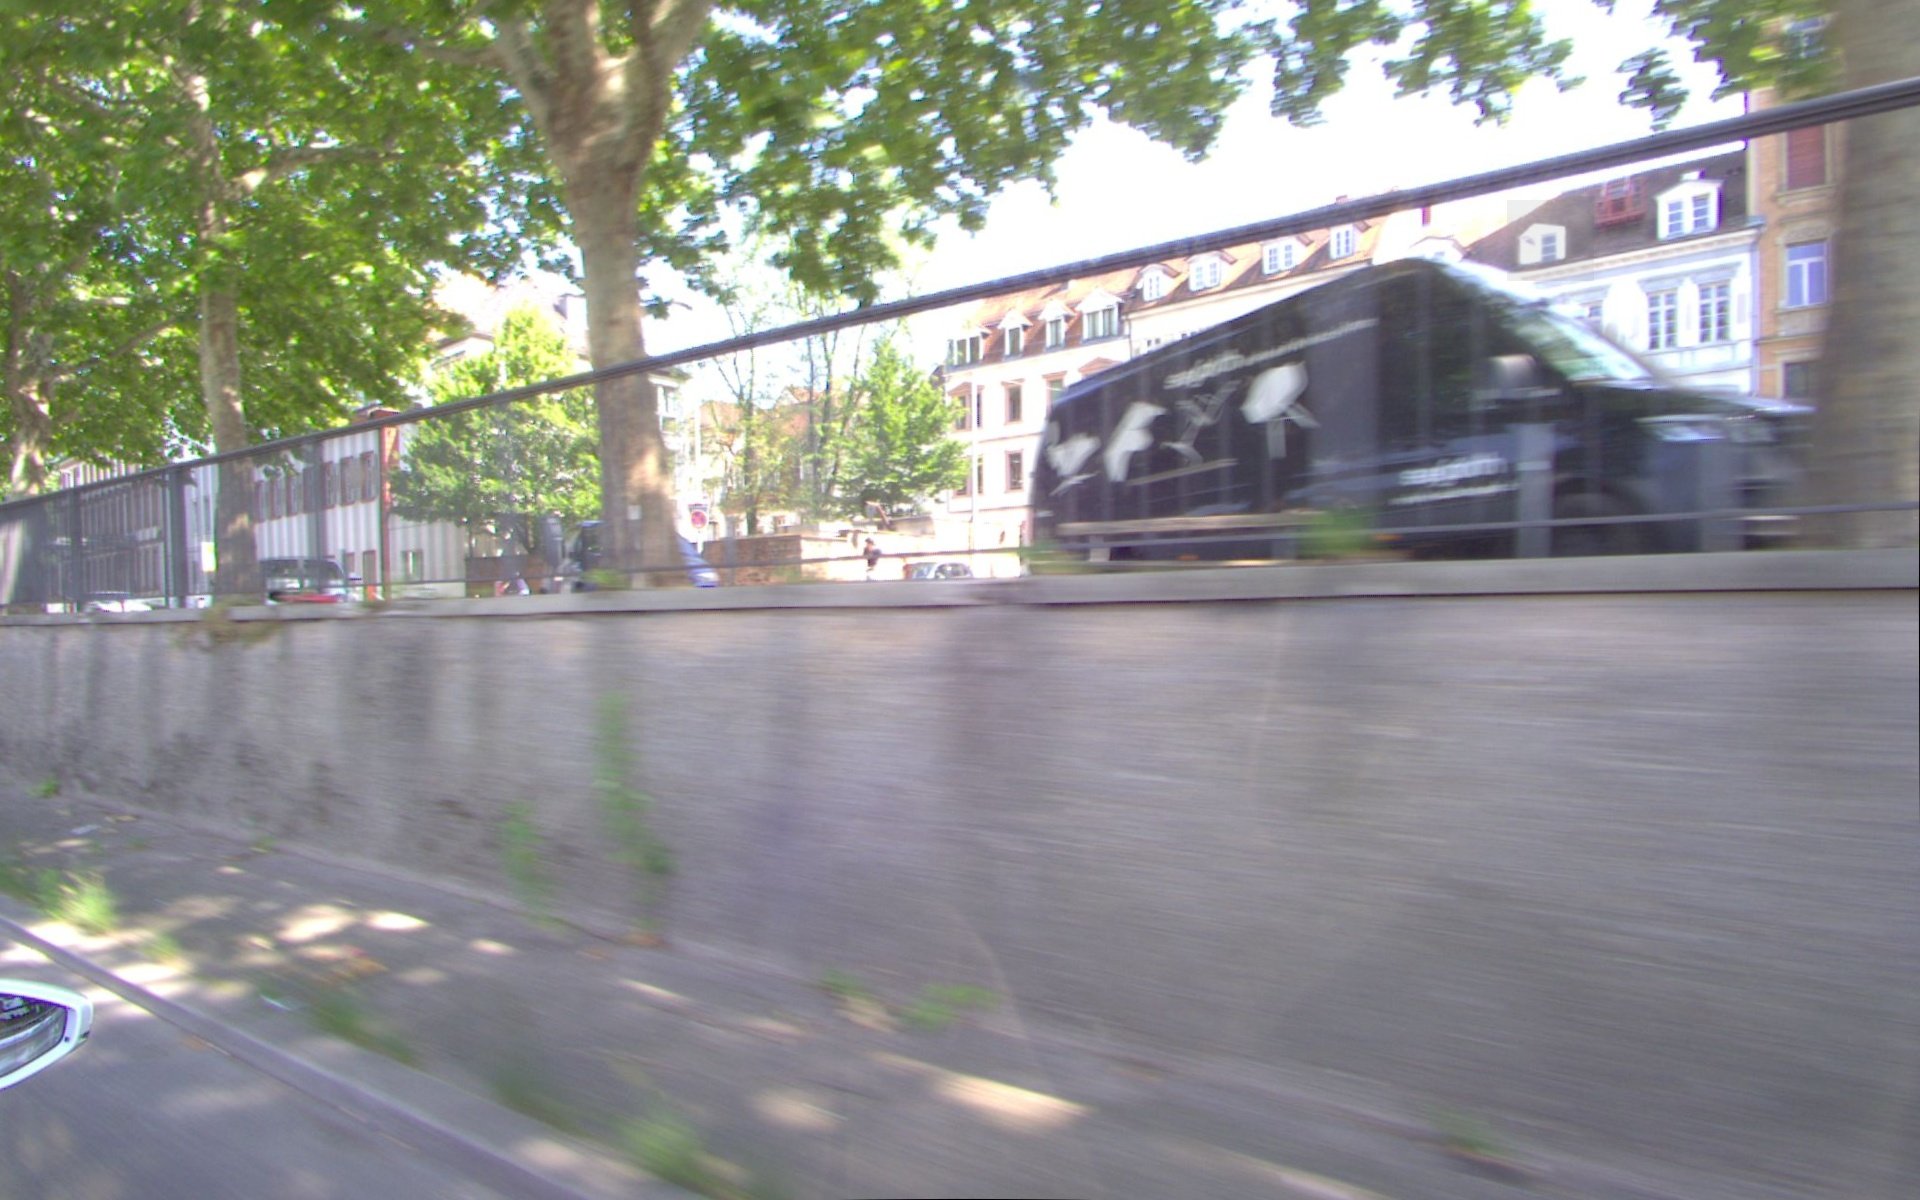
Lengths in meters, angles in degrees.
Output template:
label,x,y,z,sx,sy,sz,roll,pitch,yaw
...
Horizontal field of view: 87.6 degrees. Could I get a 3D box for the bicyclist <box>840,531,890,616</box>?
label,x,y,z,sx,sy,sz,roll,pitch,yaw
bicyclist,-1.994,-0.530,21.054,0.696,1.704,0.838,1,-3,-40

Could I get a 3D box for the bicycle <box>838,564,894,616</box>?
label,x,y,z,sx,sy,sz,roll,pitch,yaw
bicycle,-1.994,-0.194,21.073,0.414,0.988,1.533,1,-3,-39

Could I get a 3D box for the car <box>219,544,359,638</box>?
label,x,y,z,sx,sy,sz,roll,pitch,yaw
car,-12.013,-0.104,18.155,1.754,1.488,3.981,0,-1,-29

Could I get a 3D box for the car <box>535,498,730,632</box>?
label,x,y,z,sx,sy,sz,roll,pitch,yaw
car,-4.486,-0.355,13.361,1.631,1.520,3.796,0,-1,-32

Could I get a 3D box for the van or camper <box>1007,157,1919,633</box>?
label,x,y,z,sx,sy,sz,roll,pitch,yaw
van or camper,3.262,-0.902,8.770,2.310,2.210,7.328,2,-3,-28

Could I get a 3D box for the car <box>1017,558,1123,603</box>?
label,x,y,z,sx,sy,sz,roll,pitch,yaw
car,3.947,-0.721,35.302,1.762,1.395,4.593,0,3,34
